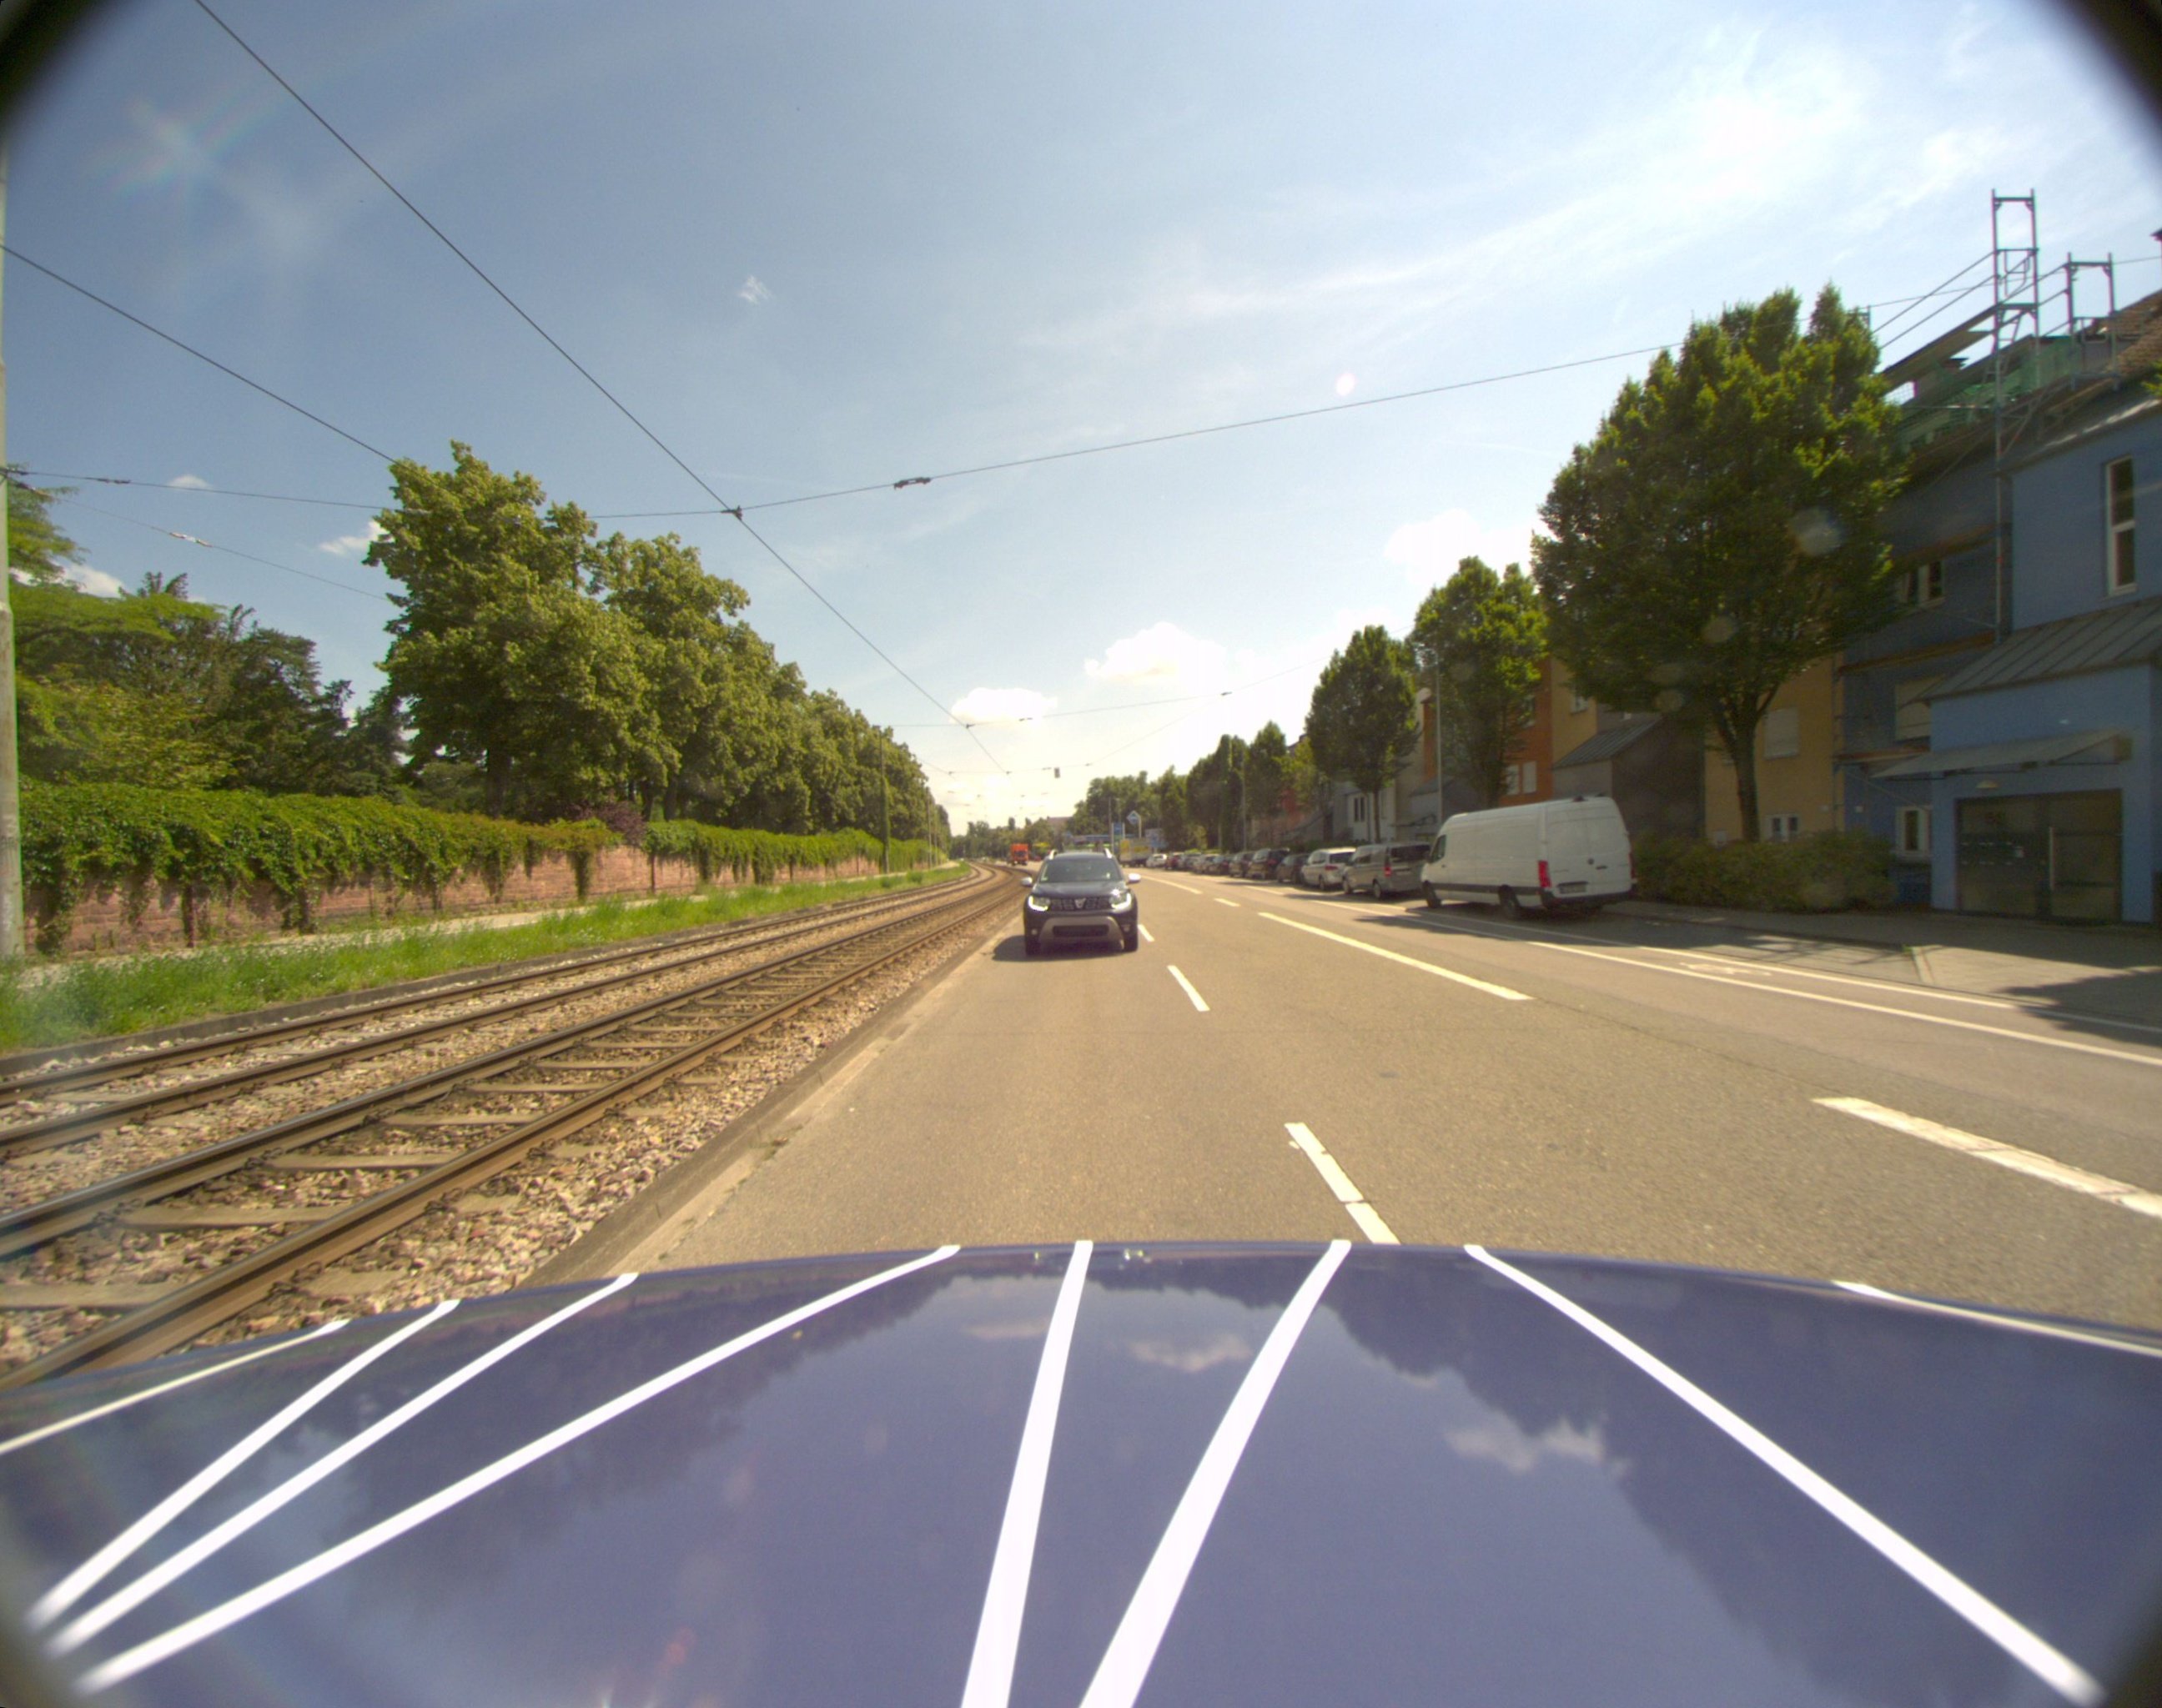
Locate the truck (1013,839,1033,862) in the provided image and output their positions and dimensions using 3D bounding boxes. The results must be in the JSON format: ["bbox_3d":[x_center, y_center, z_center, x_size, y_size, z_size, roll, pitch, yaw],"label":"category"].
[{"bbox_3d":[-9.695,-0.564,127.092,2.847,3.574,8.699,-2,1,-7],"label":"truck"}]

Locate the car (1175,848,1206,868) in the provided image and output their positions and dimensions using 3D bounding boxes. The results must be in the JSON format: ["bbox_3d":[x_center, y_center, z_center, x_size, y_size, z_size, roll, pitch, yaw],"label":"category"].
[{"bbox_3d":[9.521,0.331,66.477,1.660,1.600,4.685,-4,0,-5],"label":"car"}]

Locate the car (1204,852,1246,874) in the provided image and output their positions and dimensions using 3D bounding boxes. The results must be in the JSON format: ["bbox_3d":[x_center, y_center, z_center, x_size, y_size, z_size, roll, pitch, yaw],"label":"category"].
[{"bbox_3d":[10.396,0.633,55.108,1.746,1.438,4.962,-3,0,-3],"label":"car"}]

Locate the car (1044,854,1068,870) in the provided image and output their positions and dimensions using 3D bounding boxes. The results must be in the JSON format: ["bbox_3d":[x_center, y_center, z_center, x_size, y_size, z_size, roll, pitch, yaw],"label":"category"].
[{"bbox_3d":[-2.417,0.727,71.256,1.999,1.346,3.998,1,0,-5],"label":"car"}]

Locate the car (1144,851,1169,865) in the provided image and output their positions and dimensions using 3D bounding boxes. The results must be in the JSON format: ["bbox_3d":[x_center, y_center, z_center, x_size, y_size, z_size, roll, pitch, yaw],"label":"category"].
[{"bbox_3d":[7.978,0.379,80.743,1.661,1.402,4.394,-1,0,-8],"label":"car"}]

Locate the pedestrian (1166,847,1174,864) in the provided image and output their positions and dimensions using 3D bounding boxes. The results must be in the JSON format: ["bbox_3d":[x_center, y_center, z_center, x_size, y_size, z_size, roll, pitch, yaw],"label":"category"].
[{"bbox_3d":[9.830,0.180,83.994,0.642,1.911,0.710,-1,1,35],"label":"pedestrian"}]

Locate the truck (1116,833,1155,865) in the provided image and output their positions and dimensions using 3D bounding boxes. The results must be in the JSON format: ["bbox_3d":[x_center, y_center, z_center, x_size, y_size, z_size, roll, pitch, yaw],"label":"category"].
[{"bbox_3d":[6.543,-0.589,92.751,2.840,3.528,8.165,-4,0,-8],"label":"truck"}]

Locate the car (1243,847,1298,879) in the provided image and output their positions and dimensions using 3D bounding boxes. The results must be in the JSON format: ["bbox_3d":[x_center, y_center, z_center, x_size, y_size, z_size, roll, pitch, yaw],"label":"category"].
[{"bbox_3d":[10.814,0.470,43.718,1.755,1.706,4.886,-1,0,-2],"label":"car"}]

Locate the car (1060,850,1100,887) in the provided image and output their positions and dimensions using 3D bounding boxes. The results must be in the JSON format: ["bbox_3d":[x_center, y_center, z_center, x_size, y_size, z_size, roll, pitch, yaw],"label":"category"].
[{"bbox_3d":[-0.093,0.685,37.453,1.802,1.683,4.143,-1,0,-2],"label":"car"}]

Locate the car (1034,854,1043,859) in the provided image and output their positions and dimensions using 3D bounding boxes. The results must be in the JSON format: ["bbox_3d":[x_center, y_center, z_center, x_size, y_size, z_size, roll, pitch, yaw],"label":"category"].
[{"bbox_3d":[-11.759,0.734,210.414,2.000,1.379,3.998,-1,0,-7],"label":"car"}]

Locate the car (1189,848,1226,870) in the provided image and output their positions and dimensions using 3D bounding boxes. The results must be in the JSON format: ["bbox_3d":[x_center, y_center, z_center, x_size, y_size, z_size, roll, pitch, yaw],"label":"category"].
[{"bbox_3d":[10.163,0.366,61.305,1.660,1.499,4.893,-4,1,-5],"label":"car"}]

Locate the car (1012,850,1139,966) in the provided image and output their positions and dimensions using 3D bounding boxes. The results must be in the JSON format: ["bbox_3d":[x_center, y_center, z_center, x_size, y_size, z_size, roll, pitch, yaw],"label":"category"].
[{"bbox_3d":[0.071,0.796,13.662,1.801,1.652,4.789,-3,0,4],"label":"car"}]

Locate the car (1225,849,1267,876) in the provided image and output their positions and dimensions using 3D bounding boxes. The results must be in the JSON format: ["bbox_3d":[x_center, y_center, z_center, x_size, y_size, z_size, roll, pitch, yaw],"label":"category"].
[{"bbox_3d":[10.591,0.496,49.038,1.660,1.608,4.283,-1,1,-2],"label":"car"}]

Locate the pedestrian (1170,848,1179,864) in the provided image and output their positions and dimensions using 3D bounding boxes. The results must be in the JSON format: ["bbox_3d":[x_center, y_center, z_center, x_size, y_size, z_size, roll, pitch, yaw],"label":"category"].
[{"bbox_3d":[10.235,0.229,83.165,0.685,1.784,0.702,-1,1,-34],"label":"pedestrian"}]

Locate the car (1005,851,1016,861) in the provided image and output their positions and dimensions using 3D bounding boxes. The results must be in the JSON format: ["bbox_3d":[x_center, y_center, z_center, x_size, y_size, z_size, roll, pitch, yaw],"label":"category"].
[{"bbox_3d":[-14.564,0.384,156.257,2.000,2.002,3.997,-2,1,-8],"label":"car"}]

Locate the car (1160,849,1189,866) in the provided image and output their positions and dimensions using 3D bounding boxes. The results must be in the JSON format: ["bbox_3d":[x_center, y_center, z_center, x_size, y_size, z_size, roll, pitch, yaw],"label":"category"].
[{"bbox_3d":[8.850,0.324,72.275,1.661,1.600,4.170,-2,0,-8],"label":"car"}]

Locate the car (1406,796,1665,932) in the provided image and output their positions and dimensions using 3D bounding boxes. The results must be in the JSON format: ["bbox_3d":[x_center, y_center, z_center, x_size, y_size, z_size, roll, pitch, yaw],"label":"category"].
[{"bbox_3d":[10.960,0.196,19.315,2.329,2.635,7.035,-5,0,2],"label":"car"}]

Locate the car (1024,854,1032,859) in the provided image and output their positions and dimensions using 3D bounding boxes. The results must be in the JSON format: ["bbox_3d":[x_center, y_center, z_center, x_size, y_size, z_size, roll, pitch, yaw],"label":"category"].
[{"bbox_3d":[-14.525,0.769,209.186,2.000,1.379,3.998,-1,0,-7],"label":"car"}]

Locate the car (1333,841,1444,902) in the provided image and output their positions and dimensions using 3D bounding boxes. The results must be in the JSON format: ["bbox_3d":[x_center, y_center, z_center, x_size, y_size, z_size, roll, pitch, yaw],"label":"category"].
[{"bbox_3d":[10.933,0.565,27.528,1.811,1.884,5.362,-4,0,1],"label":"car"}]

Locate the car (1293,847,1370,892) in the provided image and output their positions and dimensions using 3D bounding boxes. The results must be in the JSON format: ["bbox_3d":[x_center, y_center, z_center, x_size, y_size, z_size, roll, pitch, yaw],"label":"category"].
[{"bbox_3d":[10.823,0.607,33.204,1.721,1.742,4.903,-2,0,0],"label":"car"}]

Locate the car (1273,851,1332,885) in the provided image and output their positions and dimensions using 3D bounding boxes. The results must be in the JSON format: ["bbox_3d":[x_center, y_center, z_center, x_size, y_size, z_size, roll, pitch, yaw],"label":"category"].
[{"bbox_3d":[11.046,0.657,38.115,1.603,1.463,4.085,-1,1,-2],"label":"car"}]
